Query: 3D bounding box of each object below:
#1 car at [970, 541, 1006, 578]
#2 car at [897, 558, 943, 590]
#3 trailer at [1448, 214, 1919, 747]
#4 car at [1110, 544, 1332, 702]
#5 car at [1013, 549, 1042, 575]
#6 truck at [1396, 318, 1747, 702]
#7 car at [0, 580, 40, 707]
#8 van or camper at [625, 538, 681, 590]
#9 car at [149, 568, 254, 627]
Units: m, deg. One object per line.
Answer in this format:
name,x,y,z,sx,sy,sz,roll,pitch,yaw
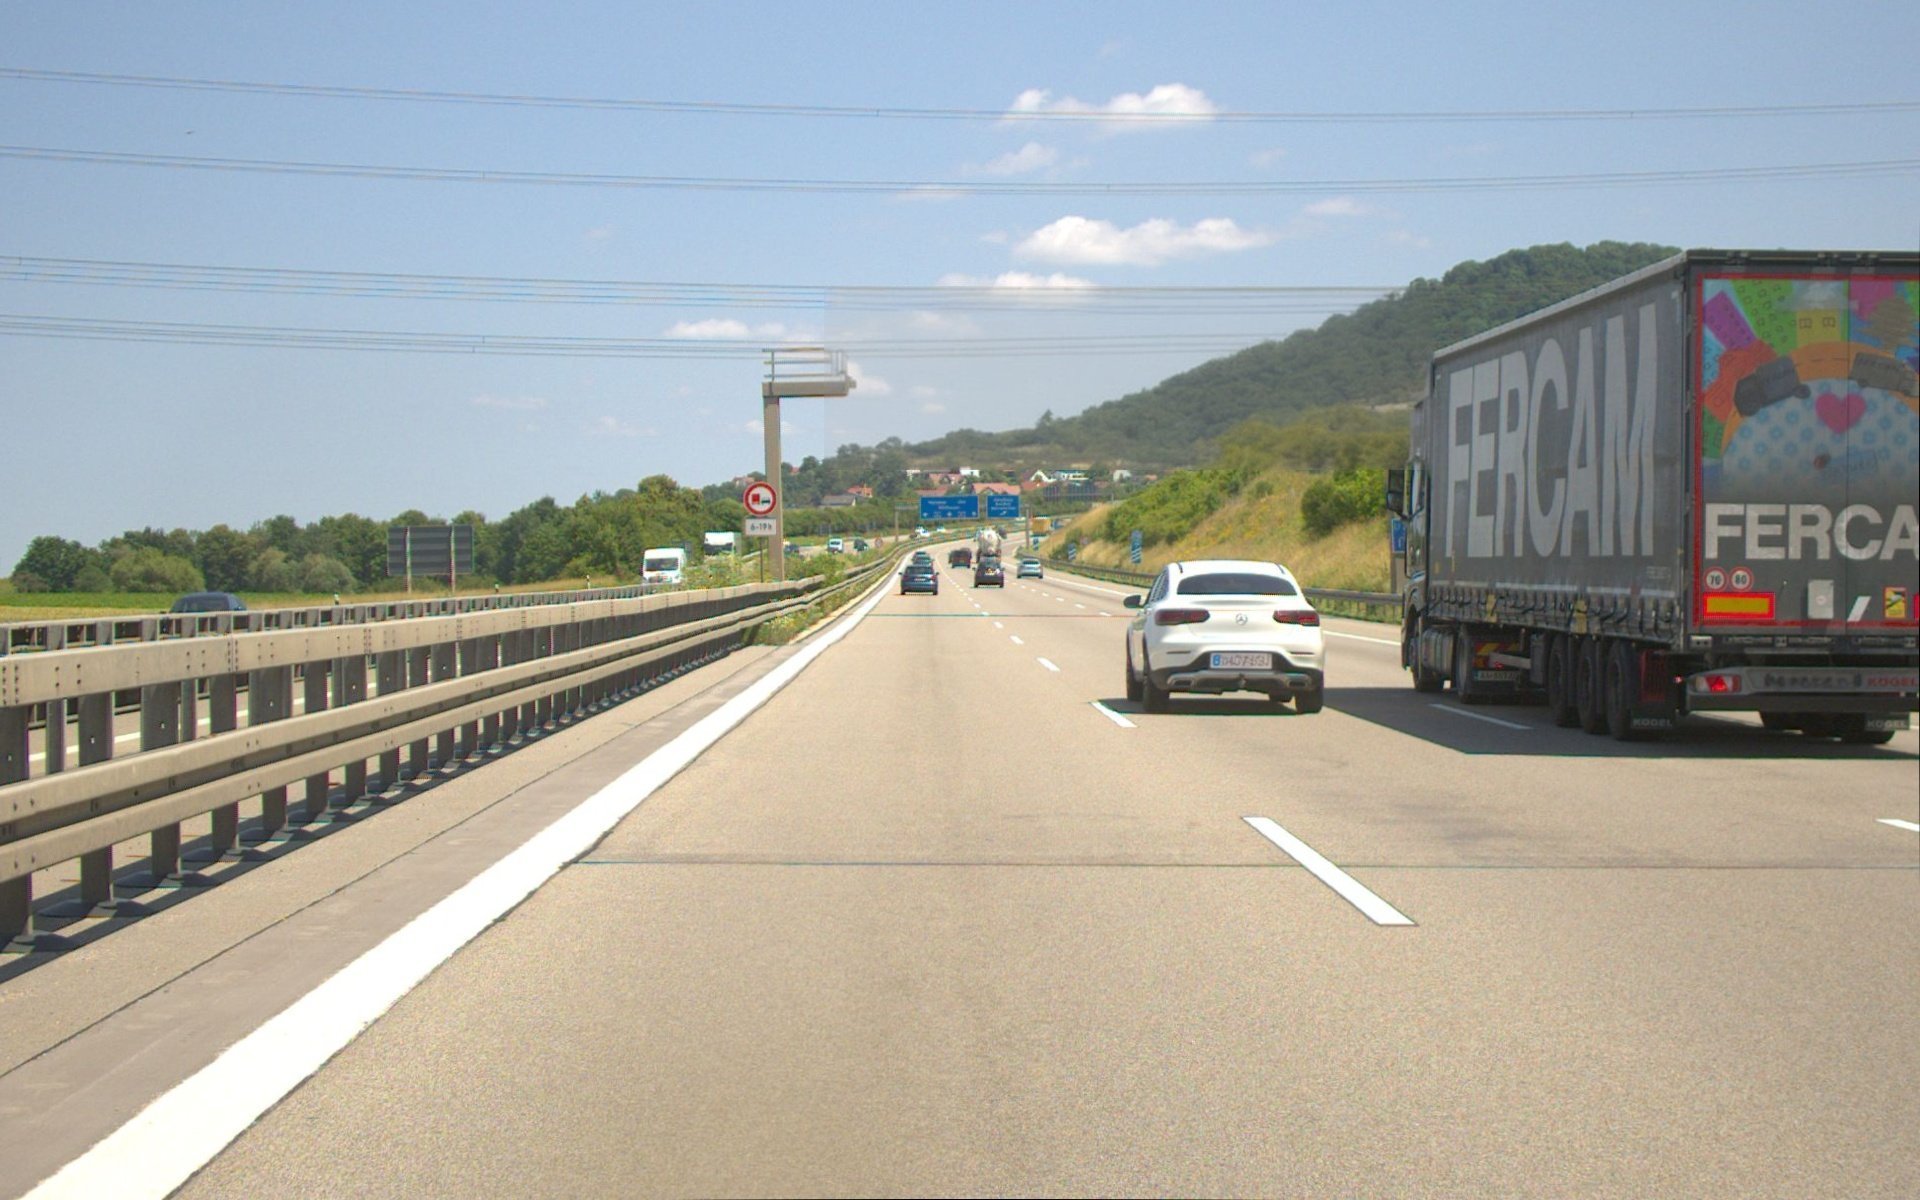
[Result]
car,1.555,-2.262,192.359,1.993,2.007,4.000,1,0,0
car,-1.817,-1.193,156.578,1.993,1.384,4.000,1,0,0
trailer,6.948,-0.966,32.822,2.725,4.141,11.808,1,0,-1
car,2.766,0.213,37.515,1.914,1.575,5.231,1,0,-1
car,4.924,-2.788,252.501,1.993,1.812,4.000,-1,1,0
truck,6.890,-0.972,39.688,2.752,4.007,6.789,1,0,0
car,-11.711,0.550,37.961,1.807,1.435,5.285,-3,1,-2
van or camper,-15.324,-1.799,171.836,2.227,2.500,6.597,1,0,-1
car,-17.831,-0.075,80.955,1.573,1.302,4.042,-1,1,-1
